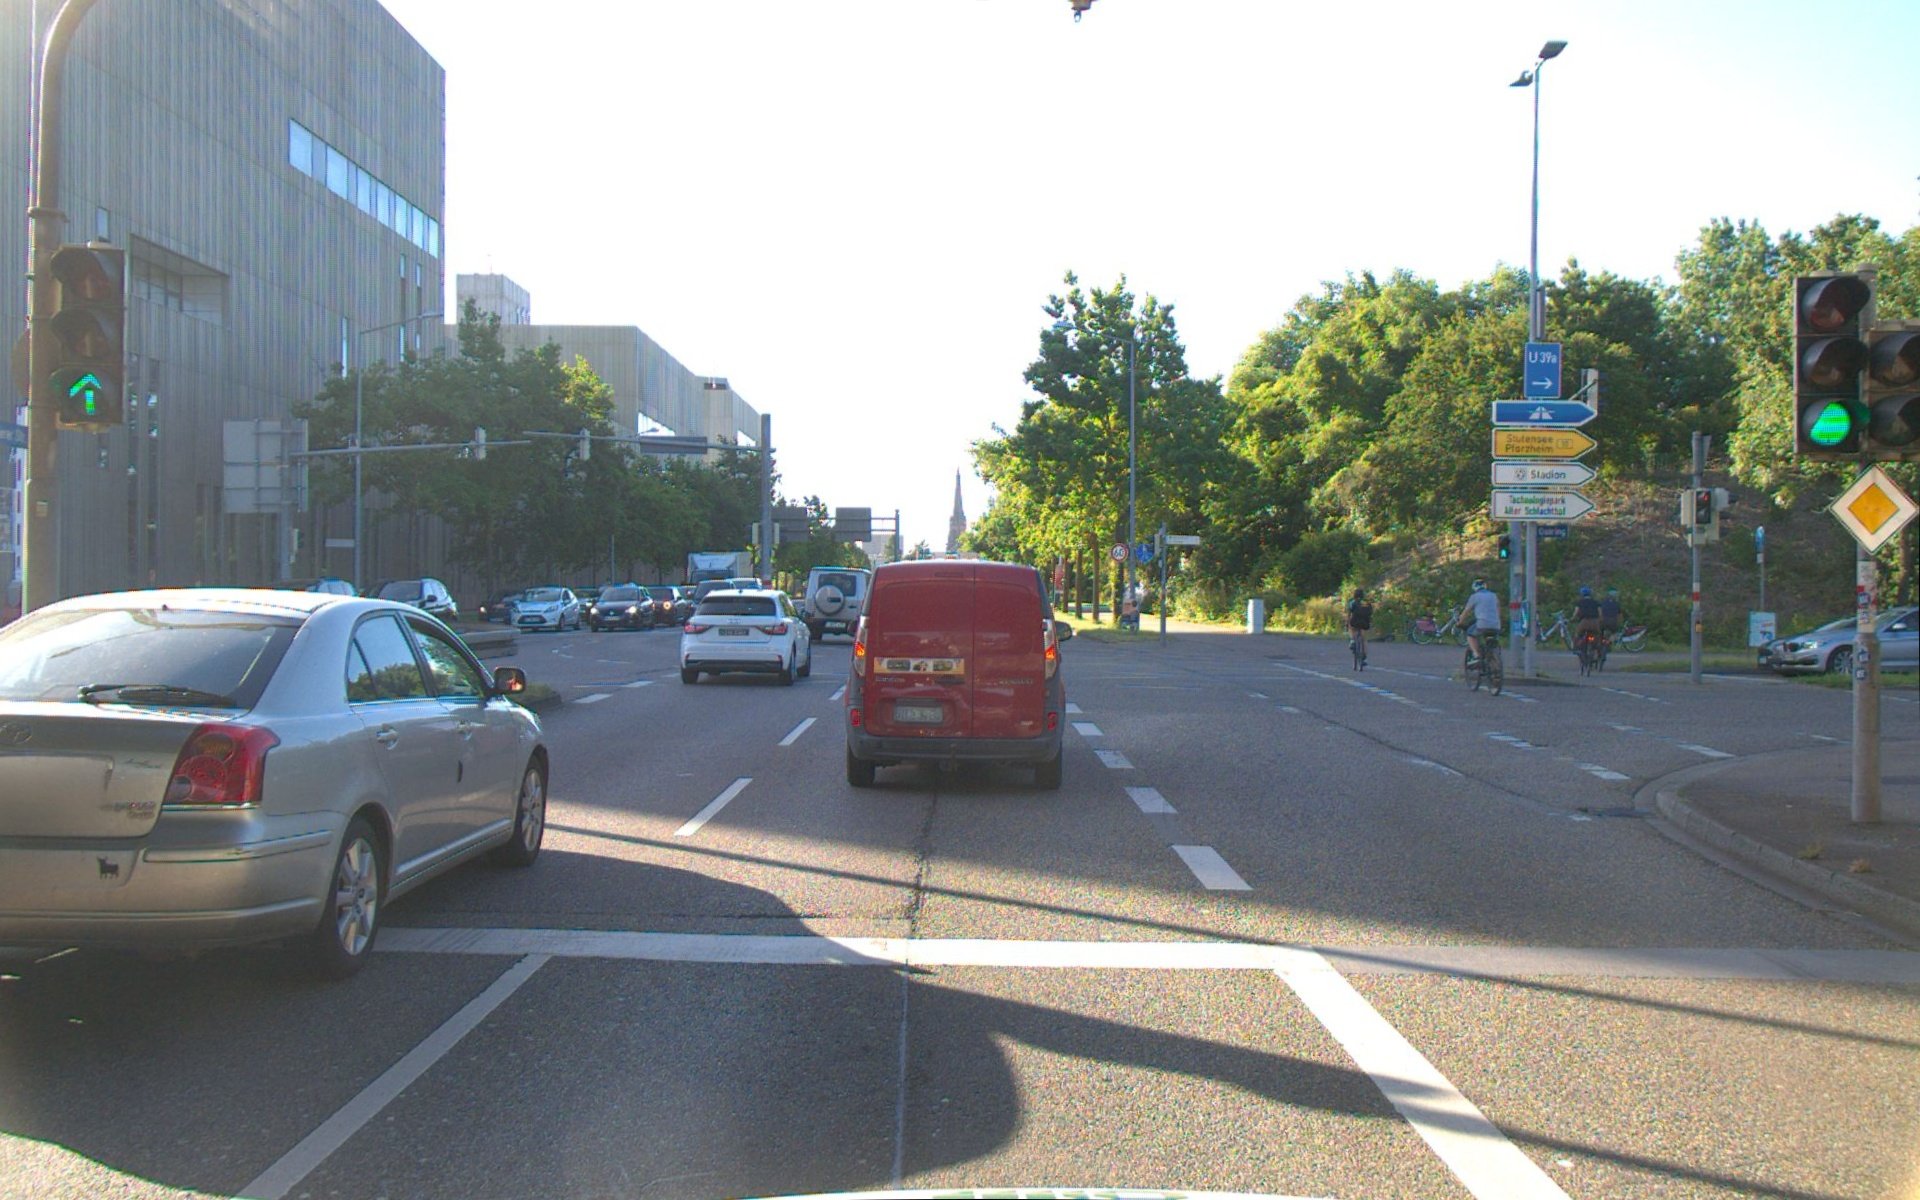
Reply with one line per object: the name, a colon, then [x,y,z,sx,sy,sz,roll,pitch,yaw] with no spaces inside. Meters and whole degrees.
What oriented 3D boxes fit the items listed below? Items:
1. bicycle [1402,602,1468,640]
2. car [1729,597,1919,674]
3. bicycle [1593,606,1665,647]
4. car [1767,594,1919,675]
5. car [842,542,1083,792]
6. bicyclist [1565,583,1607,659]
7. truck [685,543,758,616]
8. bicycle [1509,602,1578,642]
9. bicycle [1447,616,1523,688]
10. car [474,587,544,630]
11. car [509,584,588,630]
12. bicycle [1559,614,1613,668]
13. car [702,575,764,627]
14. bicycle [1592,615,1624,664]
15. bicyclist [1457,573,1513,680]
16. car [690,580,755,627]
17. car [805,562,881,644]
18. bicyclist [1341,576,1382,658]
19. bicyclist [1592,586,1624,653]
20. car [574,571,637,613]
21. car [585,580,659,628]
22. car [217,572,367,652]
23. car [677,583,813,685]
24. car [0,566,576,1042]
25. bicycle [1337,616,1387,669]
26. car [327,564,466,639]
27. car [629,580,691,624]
bicycle: [13.529,0.610,47.140,1.707,1.041,0.594,1,-1,7]
car: [19.379,0.785,35.989,4.452,1.540,1.829,1,-1,6]
bicycle: [18.076,0.716,44.685,1.707,1.041,0.594,1,-1,10]
car: [18.951,0.721,33.362,4.452,1.540,1.829,1,-1,6]
car: [-0.026,0.542,14.412,1.768,1.826,3.998,1,-1,-1]
bicyclist: [12.598,0.422,33.318,0.650,1.500,0.751,1,-1,11]
truck: [-10.841,-0.893,75.680,2.360,3.079,6.655,-2,0,-1]
bicycle: [16.114,0.605,45.697,1.707,1.041,0.594,1,-1,7]
bicycle: [7.954,0.780,25.125,0.579,1.041,1.750,1,-1,0]
car: [-16.468,0.314,60.504,1.613,1.459,3.491,-2,0,-1]
car: [-13.824,0.230,55.717,1.613,1.429,3.978,-2,0,0]
bicycle: [12.599,0.828,33.325,0.657,1.041,2.057,1,-1,11]
car: [-8.398,0.046,61.466,1.721,1.828,4.082,-2,0,-1]
bicycle: [14.795,0.888,37.769,0.653,1.041,1.750,1,1,21]
bicyclist: [7.935,0.400,25.003,0.579,1.576,0.769,1,-1,0]
car: [-7.767,0.115,54.427,1.602,1.469,3.718,-2,0,-1]
car: [-3.076,0.116,44.259,1.764,2.023,4.587,1,-1,-1]
bicyclist: [8.149,0.347,33.589,0.579,1.642,0.942,1,-1,0]
bicyclist: [14.800,0.435,37.777,0.636,1.507,0.618,1,0,23]
car: [-14.365,-0.307,67.234,1.613,1.572,4.397,-2,0,-1]
car: [-11.044,0.119,54.236,1.602,1.469,4.076,-2,0,-1]
car: [-16.251,0.279,40.495,1.787,1.768,4.628,-2,0,0]
car: [-3.313,0.493,26.081,1.777,1.463,3.729,1,0,-2]
car: [-3.090,0.669,7.426,1.697,1.506,4.318,1,-1,0]
bicycle: [8.153,0.856,33.582,0.579,1.041,1.750,1,-1,0]
car: [-13.527,0.041,39.977,1.787,1.654,4.529,-2,0,0]
car: [-10.827,0.067,59.861,1.603,1.469,4.075,-2,0,-2]
